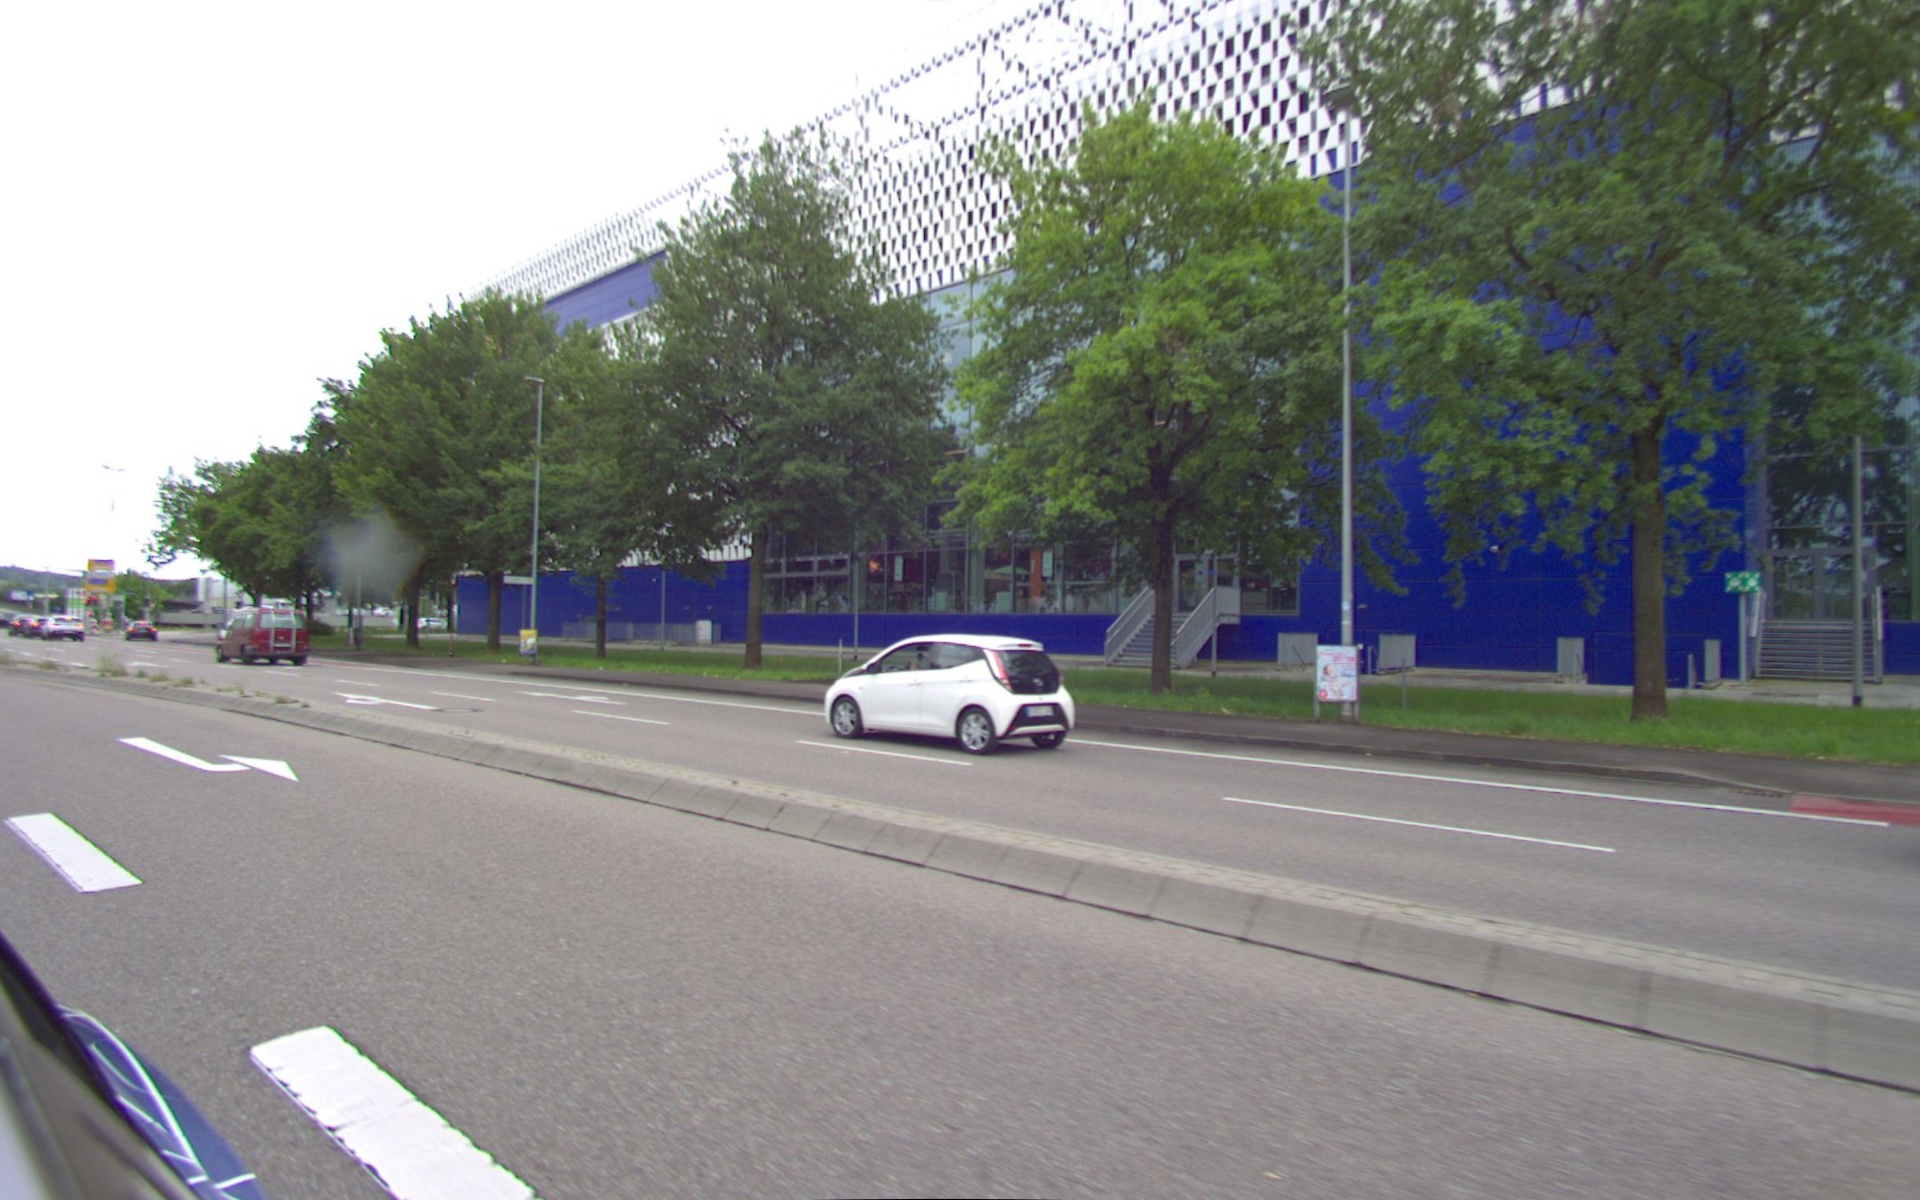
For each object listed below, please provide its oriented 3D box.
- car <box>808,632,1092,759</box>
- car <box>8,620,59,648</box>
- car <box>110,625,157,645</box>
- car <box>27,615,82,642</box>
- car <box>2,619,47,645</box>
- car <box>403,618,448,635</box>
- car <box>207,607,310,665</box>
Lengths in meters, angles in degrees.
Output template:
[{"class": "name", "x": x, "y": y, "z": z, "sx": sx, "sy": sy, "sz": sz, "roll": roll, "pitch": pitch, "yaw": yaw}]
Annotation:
[{"class": "car", "x": -0.210, "y": 1.175, "z": 13.438, "sx": 3.610, "sy": 1.434, "sz": 1.607, "roll": -1, "pitch": -4, "yaw": 41}, {"class": "car", "x": -62.653, "y": 2.276, "z": 68.427, "sx": 3.973, "sy": 1.812, "sz": 1.631, "roll": -1, "pitch": -5, "yaw": 36}, {"class": "car", "x": -60.878, "y": 2.558, "z": 74.542, "sx": 3.973, "sy": 1.401, "sz": 1.631, "roll": -1, "pitch": -5, "yaw": 36}, {"class": "car", "x": -57.820, "y": 1.834, "z": 64.608, "sx": 3.973, "sy": 1.624, "sz": 1.707, "roll": -1, "pitch": -5, "yaw": 36}, {"class": "car", "x": -69.758, "y": 2.395, "z": 75.465, "sx": 3.973, "sy": 1.812, "sz": 1.631, "roll": -1, "pitch": -5, "yaw": 36}, {"class": "car", "x": -58.342, "y": 2.899, "z": 110.522, "sx": 1.865, "sy": 1.833, "sz": 3.944, "roll": -1, "pitch": -3, "yaw": 42}, {"class": "car", "x": -24.787, "y": 1.266, "z": 35.680, "sx": 4.906, "sy": 1.939, "sz": 1.749, "roll": -1, "pitch": -4, "yaw": 41}]
